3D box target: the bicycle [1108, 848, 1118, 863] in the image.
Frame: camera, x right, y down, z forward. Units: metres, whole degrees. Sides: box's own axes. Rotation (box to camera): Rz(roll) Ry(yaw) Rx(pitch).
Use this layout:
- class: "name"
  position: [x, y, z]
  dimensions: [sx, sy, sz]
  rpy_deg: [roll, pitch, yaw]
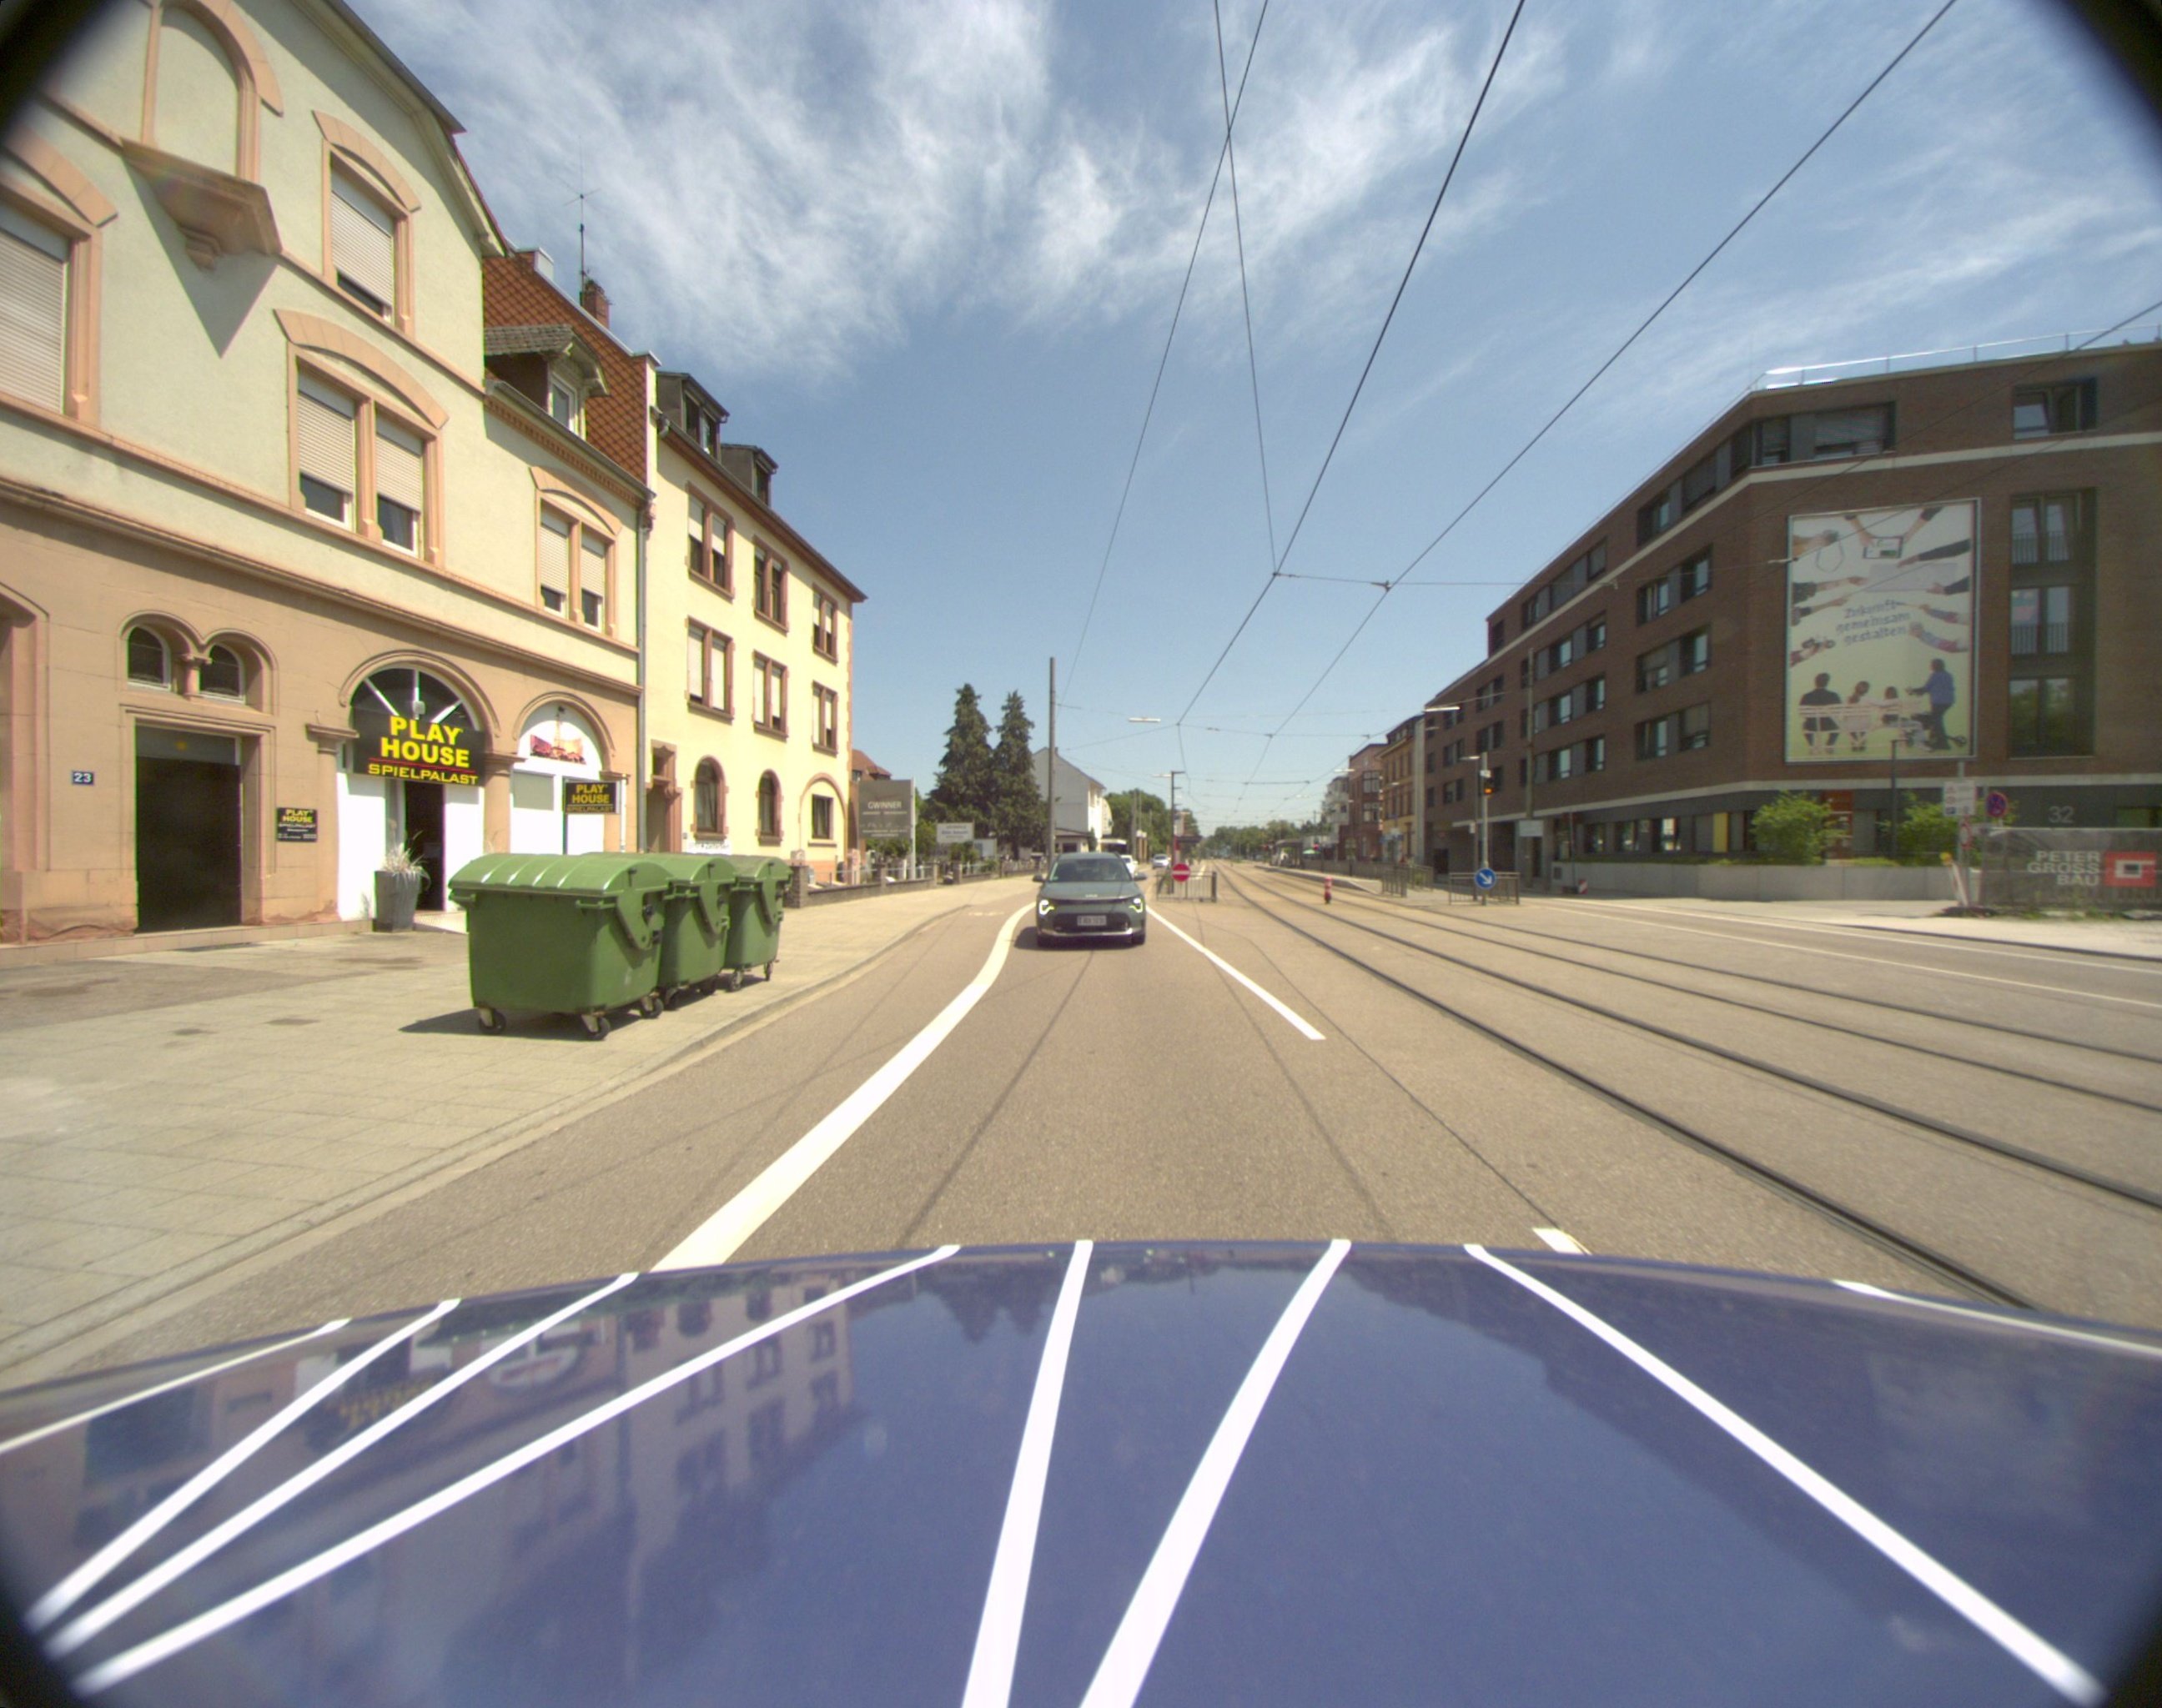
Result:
- class: "bicycle"
  position: [4.153, 0.169, 99.245]
  dimensions: [0.799, 1.889, 1.961]
  rpy_deg: [3, 0, 17]

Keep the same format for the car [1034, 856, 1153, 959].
- class: "car"
  position: [0.118, 0.828, 13.964]
  dimensions: [1.827, 1.546, 4.486]
  rpy_deg: [0, 0, -2]

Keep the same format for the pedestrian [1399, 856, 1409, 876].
- class: "pedestrian"
  position: [26.872, 0.991, 63.274]
  dimensions: [0.604, 1.586, 0.715]
  rpy_deg: [0, 0, 7]

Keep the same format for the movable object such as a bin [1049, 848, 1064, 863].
- class: "movable object such as a bin"
  position: [-2.478, 0.158, 76.898]
  dimensions: [1.389, 1.472, 1.152]
  rpy_deg: [0, 0, 10]

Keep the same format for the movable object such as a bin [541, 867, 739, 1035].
- class: "movable object such as a bin"
  position: [-4.175, 0.880, 7.312]
  dimensions: [1.250, 1.446, 1.057]
  rpy_deg: [2, 0, -1]

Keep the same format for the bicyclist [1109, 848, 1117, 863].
- class: "bicyclist"
  position: [4.144, 0.213, 99.156]
  dimensions: [0.790, 1.863, 0.888]
  rpy_deg: [3, 0, 17]

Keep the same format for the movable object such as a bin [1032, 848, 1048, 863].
- class: "movable object such as a bin"
  position: [-4.168, 0.127, 77.501]
  dimensions: [1.389, 1.472, 1.152]
  rpy_deg: [0, 0, 13]

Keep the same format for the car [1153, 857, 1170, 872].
- class: "car"
  position: [8.745, 1.093, 82.810]
  dimensions: [1.748, 1.546, 4.489]
  rpy_deg: [-2, 0, 4]

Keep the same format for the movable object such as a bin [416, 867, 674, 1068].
- class: "movable object such as a bin"
  position: [-4.308, 0.865, 6.236]
  dimensions: [1.327, 1.446, 1.057]
  rpy_deg: [2, 0, -1]

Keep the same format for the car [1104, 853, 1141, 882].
- class: "car"
  position: [2.474, 0.772, 44.141]
  dimensions: [1.747, 1.546, 4.490]
  rpy_deg: [-2, 0, 8]

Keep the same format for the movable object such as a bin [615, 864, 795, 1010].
- class: "movable object such as a bin"
  position: [-4.094, 0.868, 8.409]
  dimensions: [1.395, 1.446, 1.139]
  rpy_deg: [2, 0, -1]
